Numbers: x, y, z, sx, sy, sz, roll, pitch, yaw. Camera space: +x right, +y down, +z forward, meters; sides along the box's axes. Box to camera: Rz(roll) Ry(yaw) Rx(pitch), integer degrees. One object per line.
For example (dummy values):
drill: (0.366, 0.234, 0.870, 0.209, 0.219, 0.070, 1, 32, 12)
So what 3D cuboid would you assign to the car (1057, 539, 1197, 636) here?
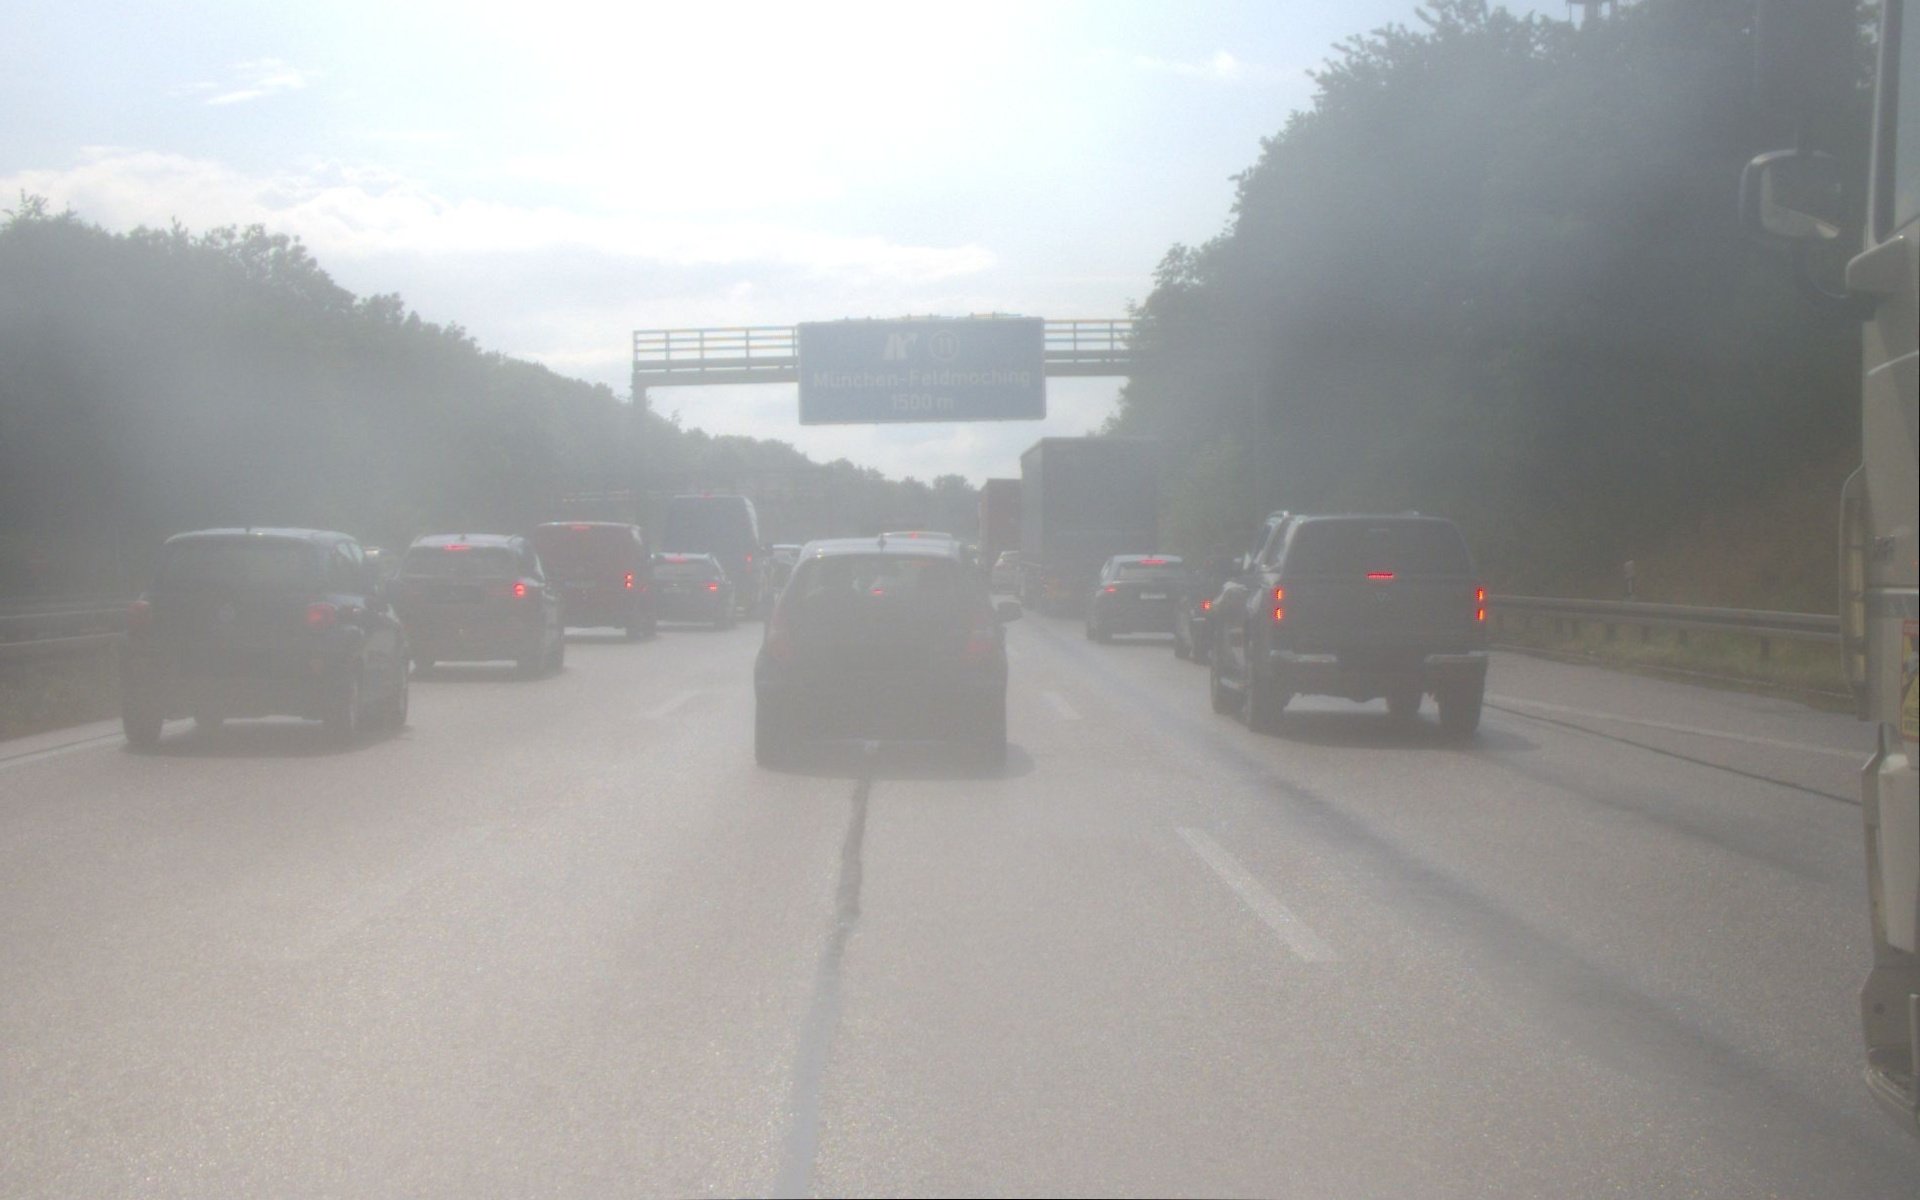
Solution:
car: (2.667, -0.211, 55.684, 1.864, 1.511, 3.976, 1, 0, -3)

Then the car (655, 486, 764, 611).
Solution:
car: (-5.397, -1.091, 74.689, 1.993, 2.606, 5.259, 1, 0, 0)

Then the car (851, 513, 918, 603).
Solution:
car: (-2.366, -1.306, 108.375, 1.993, 2.737, 5.259, 1, 0, 0)

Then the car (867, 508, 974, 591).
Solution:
car: (-0.789, -0.951, 65.639, 1.864, 1.511, 3.976, 1, 0, -3)

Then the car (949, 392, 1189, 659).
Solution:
car: (2.376, -1.684, 83.801, 4.403, 5.810, 16.820, 1, 0, -3)

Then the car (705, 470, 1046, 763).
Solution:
car: (-0.661, 0.094, 25.529, 2.274, 1.948, 4.822, 1, 0, -2)

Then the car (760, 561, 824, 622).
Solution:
car: (-5.886, -0.311, 120.966, 1.993, 2.108, 4.889, 1, 0, 0)

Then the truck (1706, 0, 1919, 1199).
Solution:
truck: (3.471, -0.493, 4.671, 3.284, 3.877, 6.397, 1, 1, -2)

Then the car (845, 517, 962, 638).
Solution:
car: (-0.918, -0.347, 53.603, 1.692, 1.798, 3.976, 1, 0, -3)

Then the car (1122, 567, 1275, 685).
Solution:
car: (3.171, 0.323, 46.304, 1.590, 1.511, 3.976, 1, 0, -3)

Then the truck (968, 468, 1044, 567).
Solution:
truck: (1.713, -3.102, 130.658, 2.775, 3.619, 5.917, 1, 0, 0)

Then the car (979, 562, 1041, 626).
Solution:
car: (1.699, -0.220, 118.333, 1.993, 2.108, 4.889, 1, 0, 0)

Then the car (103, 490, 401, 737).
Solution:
car: (-5.505, 0.084, 27.160, 1.692, 1.798, 3.976, 1, 0, -3)

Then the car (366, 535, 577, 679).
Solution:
car: (-5.835, 0.058, 41.570, 1.909, 1.631, 4.617, 0, 0, 0)

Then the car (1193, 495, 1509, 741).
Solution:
car: (3.268, 0.120, 29.852, 1.941, 1.912, 5.652, 1, 0, -1)

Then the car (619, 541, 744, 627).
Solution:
car: (-5.233, -0.309, 65.114, 1.993, 1.559, 4.756, 1, 0, 0)

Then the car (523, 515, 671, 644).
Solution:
car: (-6.009, -0.349, 57.432, 1.978, 2.047, 4.756, 1, 0, 0)
